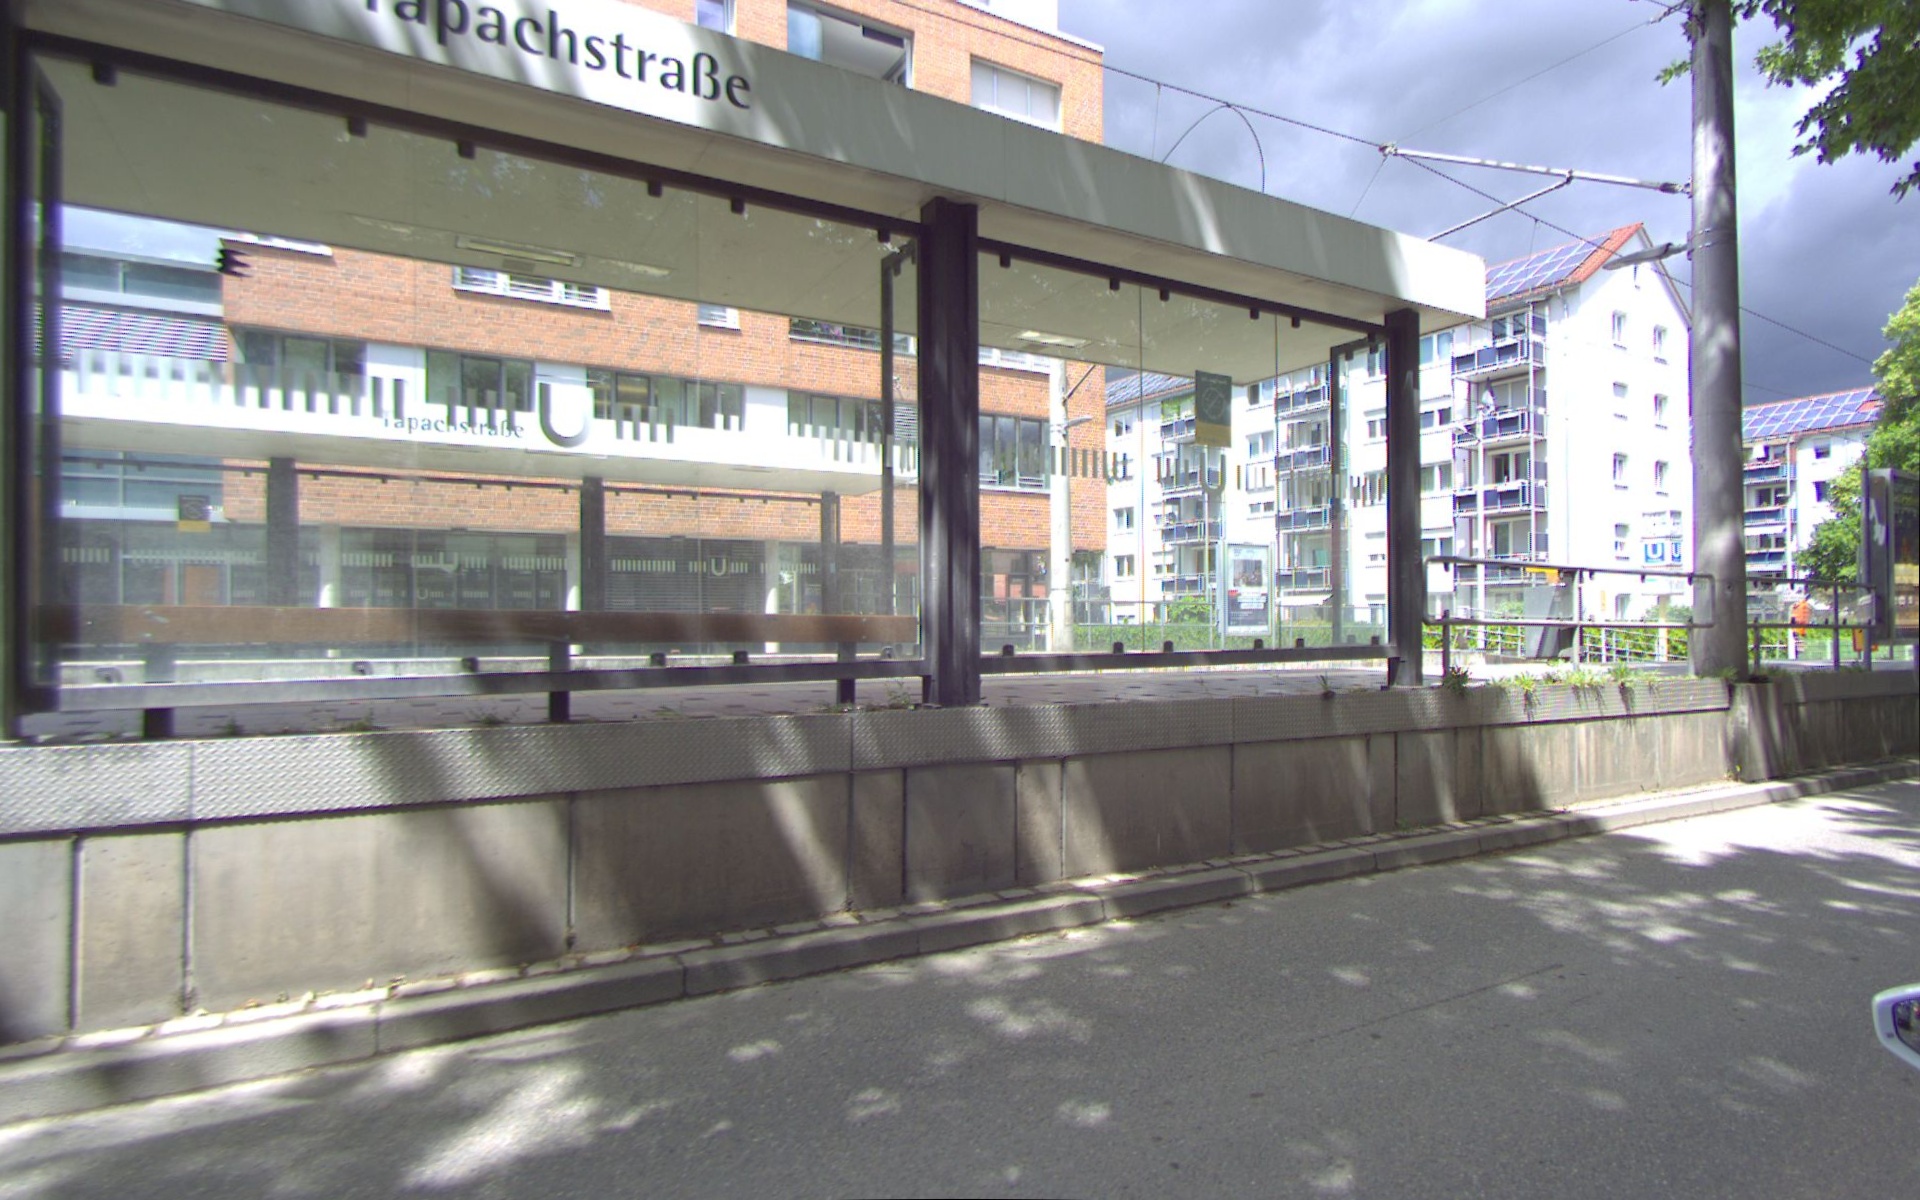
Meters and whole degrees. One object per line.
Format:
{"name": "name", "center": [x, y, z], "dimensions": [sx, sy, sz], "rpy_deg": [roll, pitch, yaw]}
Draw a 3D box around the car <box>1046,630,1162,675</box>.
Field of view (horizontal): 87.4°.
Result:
{"name": "car", "center": [5.325, 1.907, 37.113], "dimensions": [3.950, 1.572, 1.888], "rpy_deg": [1, -2, -28]}
